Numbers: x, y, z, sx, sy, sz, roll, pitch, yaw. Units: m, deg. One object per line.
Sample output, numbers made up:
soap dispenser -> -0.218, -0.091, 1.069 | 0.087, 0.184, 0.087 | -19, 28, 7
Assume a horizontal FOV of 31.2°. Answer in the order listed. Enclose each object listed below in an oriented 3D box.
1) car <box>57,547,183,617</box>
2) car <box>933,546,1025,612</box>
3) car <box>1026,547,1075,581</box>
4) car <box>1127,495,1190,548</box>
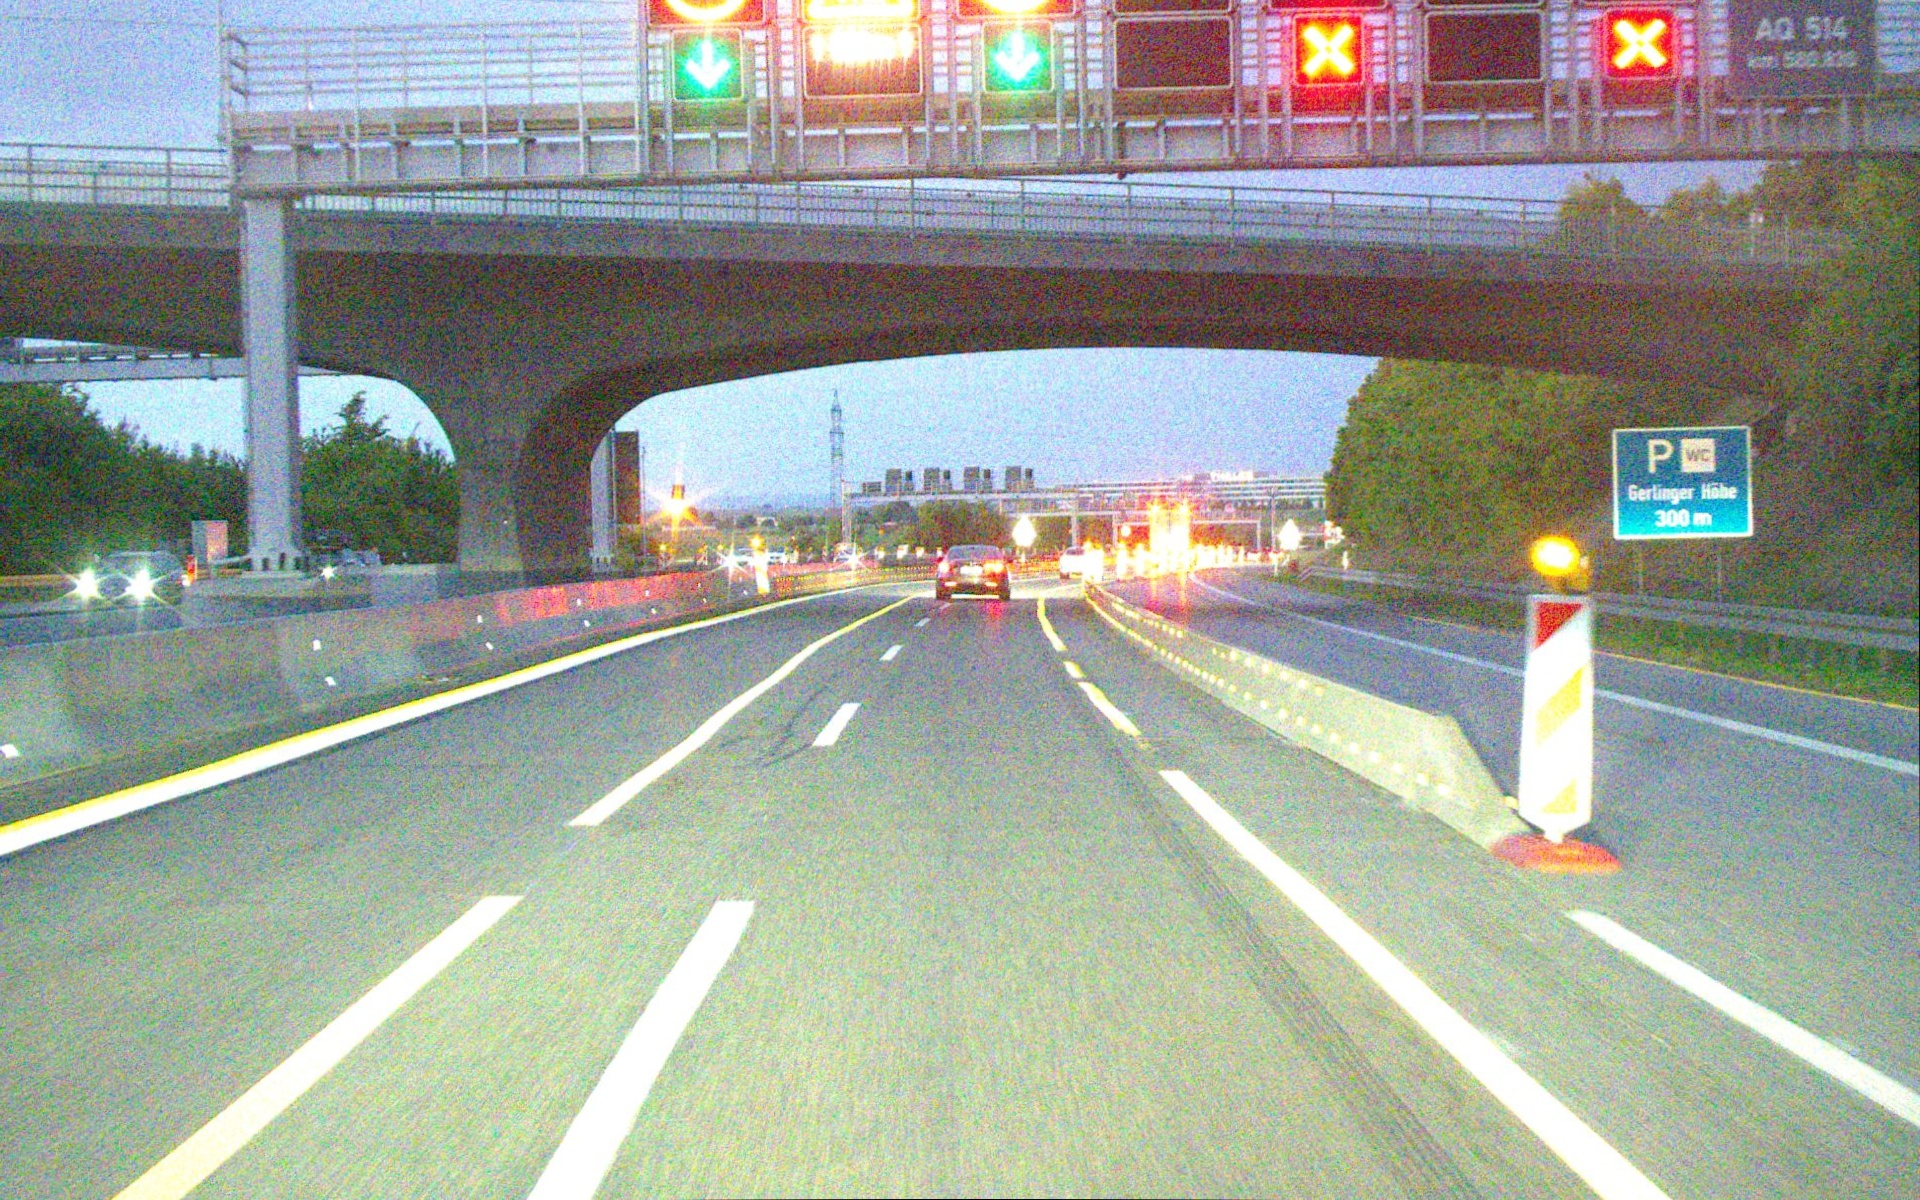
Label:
car -> -21.059, -0.462, 86.362 | 1.993, 1.668, 4.582 | 1, 1, 0
car -> 0.514, -0.552, 88.806 | 2.265, 1.616, 4.000 | 1, 1, 1
car -> 3.943, -1.572, 149.340 | 1.972, 1.432, 4.000 | 1, 1, 3
car -> 13.277, -5.207, 230.813 | 3.605, 3.384, 8.014 | 1, 1, -1
